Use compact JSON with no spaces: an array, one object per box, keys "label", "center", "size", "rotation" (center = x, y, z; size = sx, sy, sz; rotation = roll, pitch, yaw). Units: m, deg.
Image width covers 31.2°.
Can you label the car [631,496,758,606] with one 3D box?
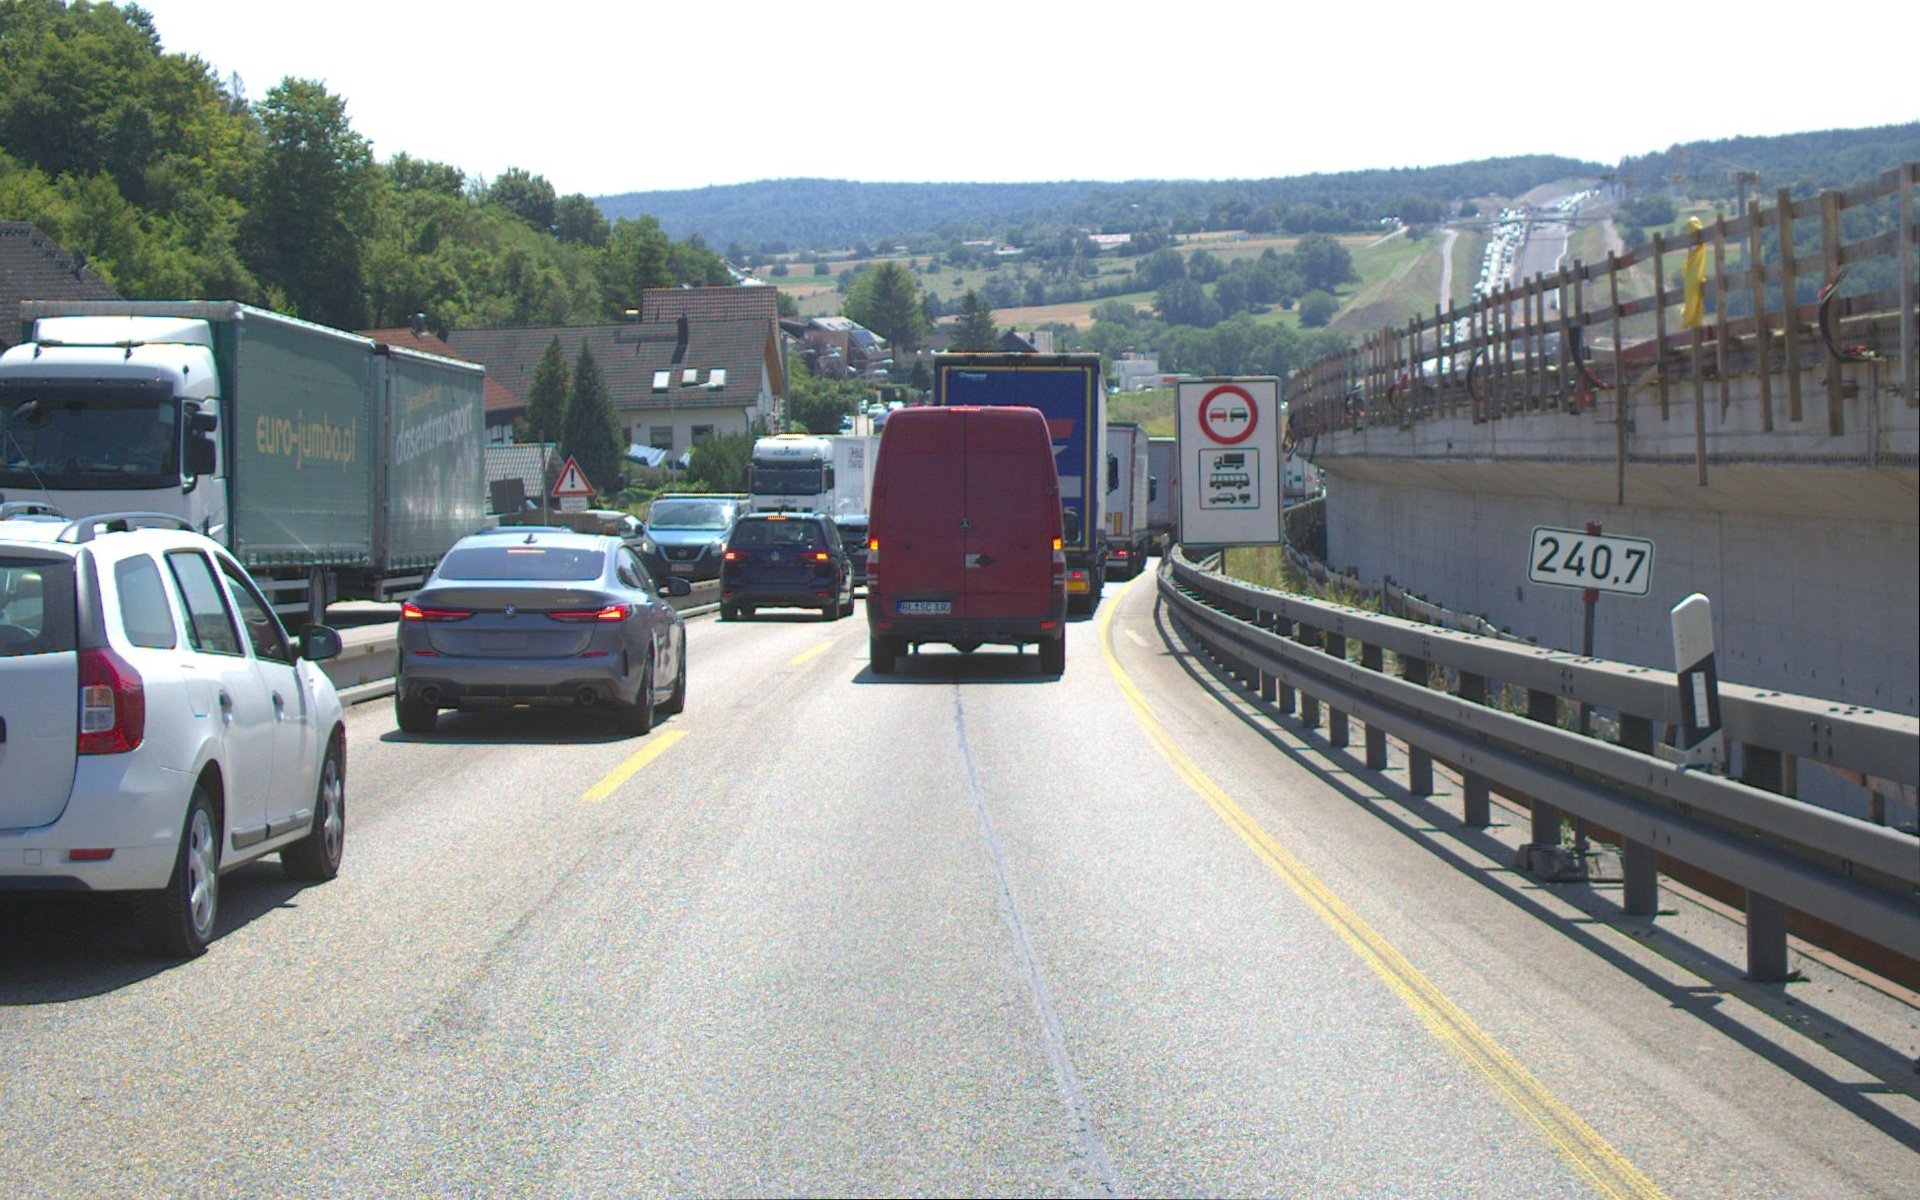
[{"label":"car","center":[-5.378,-0.977,70.213],"size":[1.994,2.165,4.832],"rotation":[0,0,3]}]

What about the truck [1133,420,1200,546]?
[{"label":"truck","center":[7.305,-4.097,121.458],"size":[1.994,4.366,3.999],"rotation":[0,0,9]}]

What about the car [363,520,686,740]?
[{"label":"car","center":[-3.112,0.164,25.320],"size":[1.795,1.480,4.050],"rotation":[0,1,1]}]

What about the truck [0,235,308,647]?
[{"label":"truck","center":[-9.822,-1.791,41.091],"size":[2.846,4.564,5.787],"rotation":[0,0,1]}]

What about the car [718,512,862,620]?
[{"label":"car","center":[-2.569,-0.516,52.708],"size":[1.810,1.602,3.718],"rotation":[0,0,4]}]

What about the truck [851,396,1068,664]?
[{"label":"truck","center":[0.055,-0.688,34.972],"size":[1.994,2.570,4.000],"rotation":[0,0,3]}]

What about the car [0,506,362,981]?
[{"label":"car","center":[-3.430,0.449,12.938],"size":[1.651,1.478,4.267],"rotation":[-2,1,-1]}]

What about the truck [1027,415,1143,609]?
[{"label":"truck","center":[3.344,-2.207,89.845],"size":[2.786,4.799,9.684],"rotation":[0,0,3]}]

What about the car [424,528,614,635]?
[{"label":"car","center":[-6.267,-0.274,49.383],"size":[1.902,1.457,4.757],"rotation":[0,0,3]}]

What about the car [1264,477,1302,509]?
[{"label":"car","center":[21.019,-6.964,223.609],"size":[2.132,2.007,3.998],"rotation":[0,0,9]}]

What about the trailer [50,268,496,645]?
[{"label":"trailer","center":[-9.433,-1.821,49.521],"size":[2.834,4.625,14.580],"rotation":[0,0,3]}]

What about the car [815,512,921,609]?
[{"label":"car","center":[-1.764,-0.764,67.296],"size":[1.729,1.832,4.000],"rotation":[0,0,3]}]

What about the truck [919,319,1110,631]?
[{"label":"truck","center":[1.052,-1.962,57.863],"size":[2.786,4.799,9.684],"rotation":[0,0,3]}]

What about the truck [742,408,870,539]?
[{"label":"truck","center":[-5.024,-4.169,114.369],"size":[2.978,4.148,10.544],"rotation":[0,2,4]}]

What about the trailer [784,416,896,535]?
[{"label":"trailer","center":[-4.256,-4.448,124.120],"size":[3.004,4.151,9.016],"rotation":[0,1,5]}]

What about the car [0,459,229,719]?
[{"label":"car","center":[-6.582,-0.109,24.182],"size":[1.957,1.675,4.114],"rotation":[0,1,1]}]
